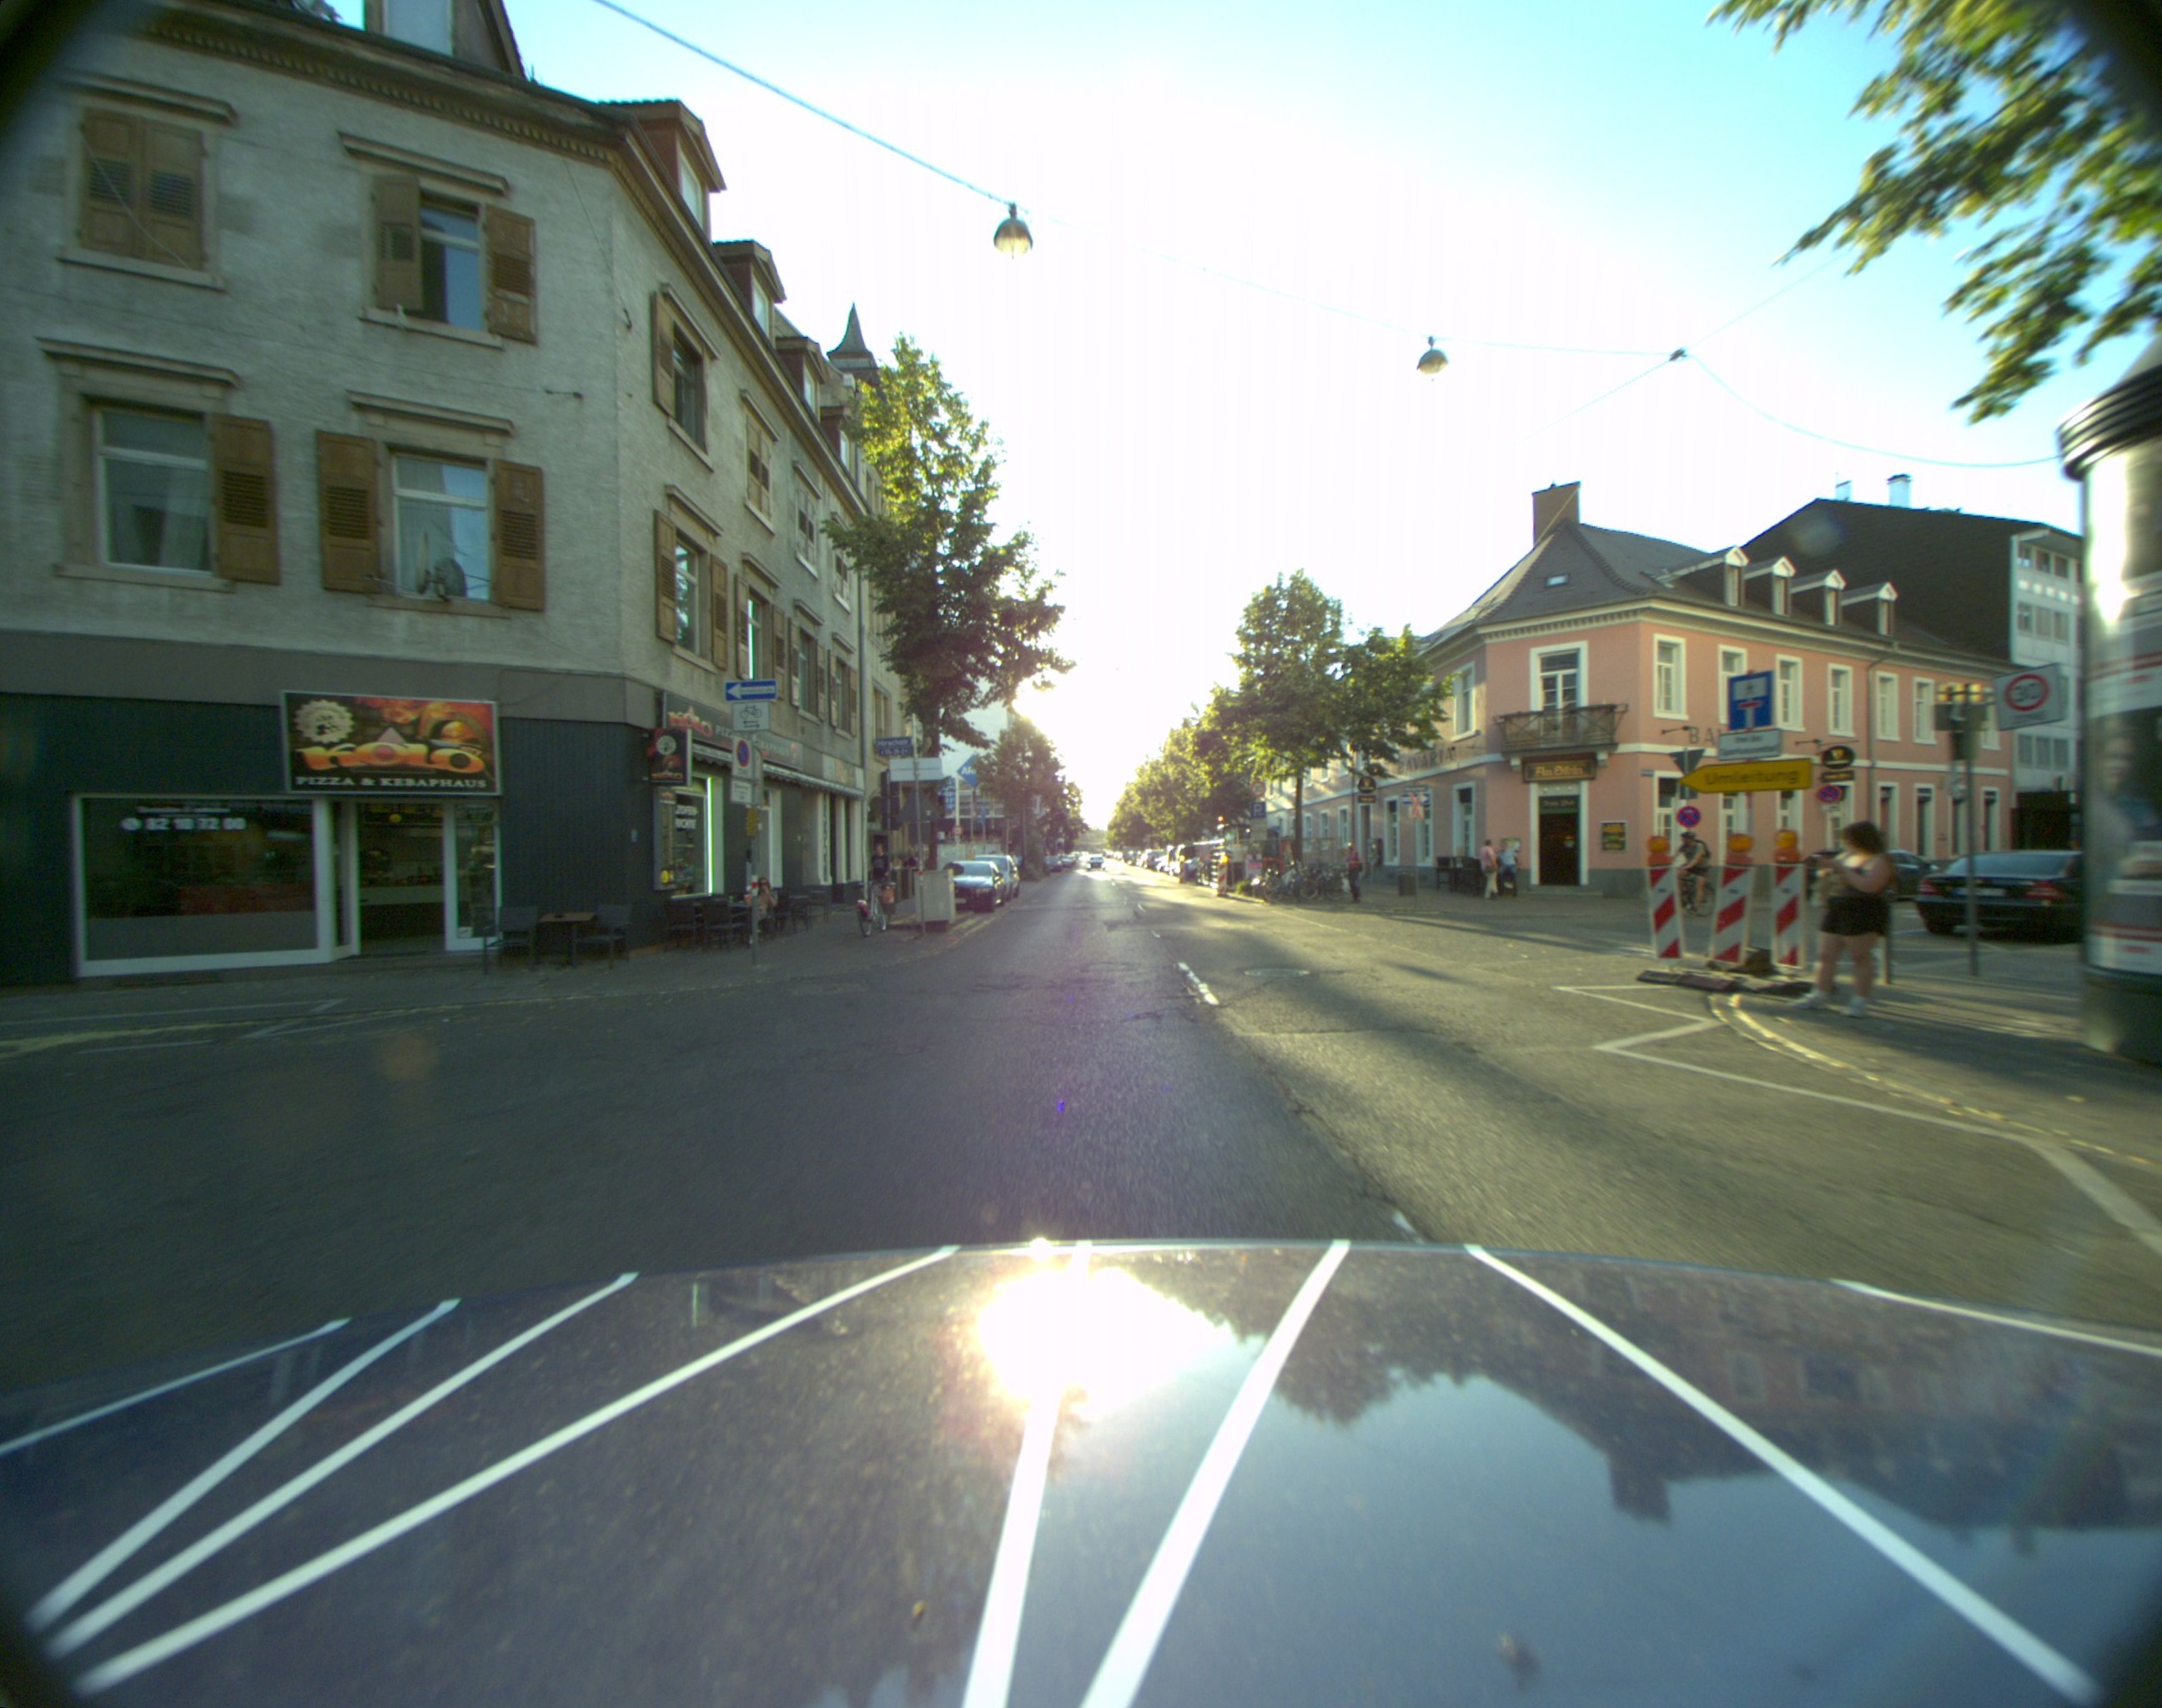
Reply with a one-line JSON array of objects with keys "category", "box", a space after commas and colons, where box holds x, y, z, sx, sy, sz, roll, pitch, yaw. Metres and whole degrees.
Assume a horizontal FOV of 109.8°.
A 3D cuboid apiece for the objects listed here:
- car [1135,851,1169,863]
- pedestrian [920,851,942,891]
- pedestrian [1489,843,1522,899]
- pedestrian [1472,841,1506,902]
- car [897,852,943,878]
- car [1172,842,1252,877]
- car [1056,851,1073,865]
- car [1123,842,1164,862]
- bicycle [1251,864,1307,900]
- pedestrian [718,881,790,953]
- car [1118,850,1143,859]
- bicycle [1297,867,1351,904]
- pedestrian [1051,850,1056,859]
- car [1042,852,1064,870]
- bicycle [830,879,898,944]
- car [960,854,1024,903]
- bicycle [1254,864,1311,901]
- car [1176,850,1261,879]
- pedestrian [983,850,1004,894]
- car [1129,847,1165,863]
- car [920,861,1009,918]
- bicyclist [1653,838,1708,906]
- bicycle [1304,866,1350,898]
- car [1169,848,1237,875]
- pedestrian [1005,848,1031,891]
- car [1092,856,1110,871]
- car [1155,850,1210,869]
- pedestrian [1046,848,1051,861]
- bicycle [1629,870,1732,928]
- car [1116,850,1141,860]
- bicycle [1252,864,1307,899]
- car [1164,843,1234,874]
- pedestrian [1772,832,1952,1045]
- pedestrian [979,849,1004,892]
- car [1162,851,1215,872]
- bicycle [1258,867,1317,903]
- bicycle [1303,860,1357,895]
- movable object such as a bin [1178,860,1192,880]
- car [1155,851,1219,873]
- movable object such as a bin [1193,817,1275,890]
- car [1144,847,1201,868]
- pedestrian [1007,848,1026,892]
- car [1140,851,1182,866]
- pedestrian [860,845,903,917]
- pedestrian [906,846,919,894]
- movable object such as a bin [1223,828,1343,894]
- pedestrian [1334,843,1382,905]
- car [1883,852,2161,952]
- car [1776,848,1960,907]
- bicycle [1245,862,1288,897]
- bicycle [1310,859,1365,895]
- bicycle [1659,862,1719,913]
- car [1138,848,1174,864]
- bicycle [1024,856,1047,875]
[{"category": "car", "box": [9.003, 0.411, 96.685, 4.162, 1.431, 1.594, -1, 0, 2]}, {"category": "pedestrian", "box": [-5.886, 0.657, 29.845, 0.660, 1.553, 0.701, 2, 1, 1]}, {"category": "pedestrian", "box": [12.712, 0.491, 22.763, 0.506, 1.641, 0.720, -1, 3, -9]}, {"category": "pedestrian", "box": [11.882, 0.496, 22.146, 0.506, 1.728, 0.720, -1, 3, -9]}, {"category": "car", "box": [-9.784, 0.632, 46.519, 1.739, 1.422, 4.907, 0, 1, 1]}, {"category": "car", "box": [8.008, 0.320, 46.661, 4.495, 1.964, 1.965, -2, 0, -1]}, {"category": "car", "box": [-1.969, 0.506, 92.964, 1.884, 1.565, 4.692, 2, 0, 1]}, {"category": "car", "box": [9.020, -0.325, 110.143, 5.672, 2.606, 2.171, -2, 0, 1]}, {"category": "bicycle", "box": [6.503, 0.931, 25.013, 1.686, 1.072, 0.444, -3, 2, 9]}, {"category": "pedestrian", "box": [-5.852, 1.099, 13.685, 0.683, 1.135, 1.360, 1, 2, 1]}, {"category": "car", "box": [9.242, 0.107, 141.593, 4.393, 1.414, 1.822, -2, 0, 0]}, {"category": "bicycle", "box": [7.382, 0.943, 23.128, 1.491, 1.053, 0.470, -2, 2, -5]}, {"category": "pedestrian", "box": [-4.973, 0.104, 136.797, 0.756, 1.748, 0.812, 0, 1, 0]}, {"category": "car", "box": [-2.467, 0.607, 68.114, 1.833, 1.479, 4.848, 1, 0, -1]}, {"category": "bicycle", "box": [-4.227, 1.096, 14.949, 0.780, 1.105, 1.899, 1, 1, 1]}, {"category": "car", "box": [-3.105, 0.815, 27.153, 1.691, 1.566, 4.013, 2, 0, 1]}, {"category": "bicycle", "box": [6.456, 0.919, 24.428, 1.686, 1.072, 0.444, -3, 2, 9]}, {"category": "car", "box": [7.796, 0.588, 43.387, 4.604, 1.461, 1.893, -1, 0, 4]}, {"category": "pedestrian", "box": [-3.458, 0.716, 30.037, 0.680, 1.696, 0.824, 2, 1, -14]}, {"category": "car", "box": [8.637, 0.147, 99.530, 4.510, 1.942, 1.919, -1, 0, 3]}, {"category": "car", "box": [-3.220, 0.932, 21.856, 1.789, 1.367, 4.523, 2, 0, 0]}, {"category": "bicyclist", "box": [13.075, 0.384, 16.572, 0.744, 1.449, 0.585, -1, -1, -15]}, {"category": "bicycle", "box": [7.946, 0.900, 24.543, 1.327, 0.974, 0.444, -2, 2, 4]}, {"category": "car", "box": [7.876, 0.470, 49.295, 4.140, 1.627, 1.860, -2, 0, 1]}, {"category": "pedestrian", "box": [-2.739, 0.667, 32.849, 1.017, 1.815, 0.779, 2, 1, -9]}, {"category": "car", "box": [1.932, 0.894, 74.753, 1.684, 1.453, 4.072, -1, 0, 1]}, {"category": "car", "box": [8.611, 0.490, 64.671, 4.488, 1.476, 1.734, -1, 0, 3]}, {"category": "pedestrian", "box": [-4.661, 0.110, 109.292, 0.627, 1.857, 0.976, 2, 1, 1]}, {"category": "bicycle", "box": [13.075, 0.958, 16.564, 2.126, 1.185, 0.585, -1, -1, -15]}, {"category": "car", "box": [9.321, 0.126, 149.490, 4.718, 1.800, 2.053, -2, 0, 2]}, {"category": "bicycle", "box": [6.669, 0.918, 25.577, 1.687, 1.072, 0.444, -3, 2, 0]}, {"category": "car", "box": [8.028, 0.284, 51.957, 4.494, 1.964, 2.068, -1, 0, 1]}, {"category": "pedestrian", "box": [6.576, 0.669, 6.450, 0.711, 1.676, 0.834, -1, 1, 10]}, {"category": "pedestrian", "box": [-3.612, 0.663, 30.647, 0.654, 1.690, 0.666, 1, 1, -43]}, {"category": "car", "box": [8.329, 0.552, 59.146, 3.932, 1.492, 1.905, -1, 0, 3]}, {"category": "bicycle", "box": [6.423, 0.962, 23.704, 1.686, 1.016, 0.444, -3, 2, 9]}, {"category": "bicycle", "box": [8.612, 0.809, 26.268, 1.686, 1.142, 0.444, -2, 2, 4]}, {"category": "movable object such as a bin", "box": [5.682, 0.864, 41.542, 0.691, 1.099, 0.883, 0, 1, 3]}, {"category": "car", "box": [7.814, 0.571, 56.112, 4.338, 1.492, 1.841, -2, 0, -4]}, {"category": "movable object such as a bin", "box": [6.682, -0.036, 33.859, 2.631, 2.952, 5.303, -1, 0, 1]}, {"category": "car", "box": [8.311, 0.320, 69.302, 4.882, 1.897, 1.974, -1, 0, 1]}, {"category": "pedestrian", "box": [-2.575, 0.616, 30.207, 0.679, 1.744, 0.824, 0, 1, -10]}, {"category": "car", "box": [8.090, 0.452, 77.249, 4.047, 1.475, 1.963, -1, 0, 0]}, {"category": "pedestrian", "box": [-5.336, 0.705, 20.392, 0.825, 1.843, 1.097, 2, 1, -1]}, {"category": "pedestrian", "box": [-6.608, 0.628, 29.799, 0.462, 1.864, 0.500, 0, 0, -14]}, {"category": "movable object such as a bin", "box": [8.497, 0.221, 31.588, 2.307, 2.481, 5.766, 0, 1, 44]}, {"category": "pedestrian", "box": [8.109, 0.571, 22.248, 0.820, 1.755, 1.037, -1, 1, -33]}, {"category": "car", "box": [15.760, 0.685, 12.598, 4.213, 1.372, 1.996, -1, 1, -22]}, {"category": "car", "box": [22.004, 0.608, 21.243, 4.533, 1.462, 1.994, -1, 0, -22]}, {"category": "bicycle", "box": [6.460, 0.874, 26.449, 1.551, 1.110, 0.443, -4, 2, -32]}, {"category": "bicycle", "box": [8.630, 0.786, 25.605, 1.686, 1.142, 0.444, -2, 2, 4]}, {"category": "bicycle", "box": [15.521, 0.825, 19.383, 1.945, 1.186, 0.584, -2, 3, -33]}, {"category": "car", "box": [8.781, 0.268, 89.161, 4.148, 1.796, 1.807, -1, 0, 2]}, {"category": "bicycle", "box": [-2.836, 0.693, 47.293, 0.482, 1.136, 1.684, 3, 1, 31]}]
